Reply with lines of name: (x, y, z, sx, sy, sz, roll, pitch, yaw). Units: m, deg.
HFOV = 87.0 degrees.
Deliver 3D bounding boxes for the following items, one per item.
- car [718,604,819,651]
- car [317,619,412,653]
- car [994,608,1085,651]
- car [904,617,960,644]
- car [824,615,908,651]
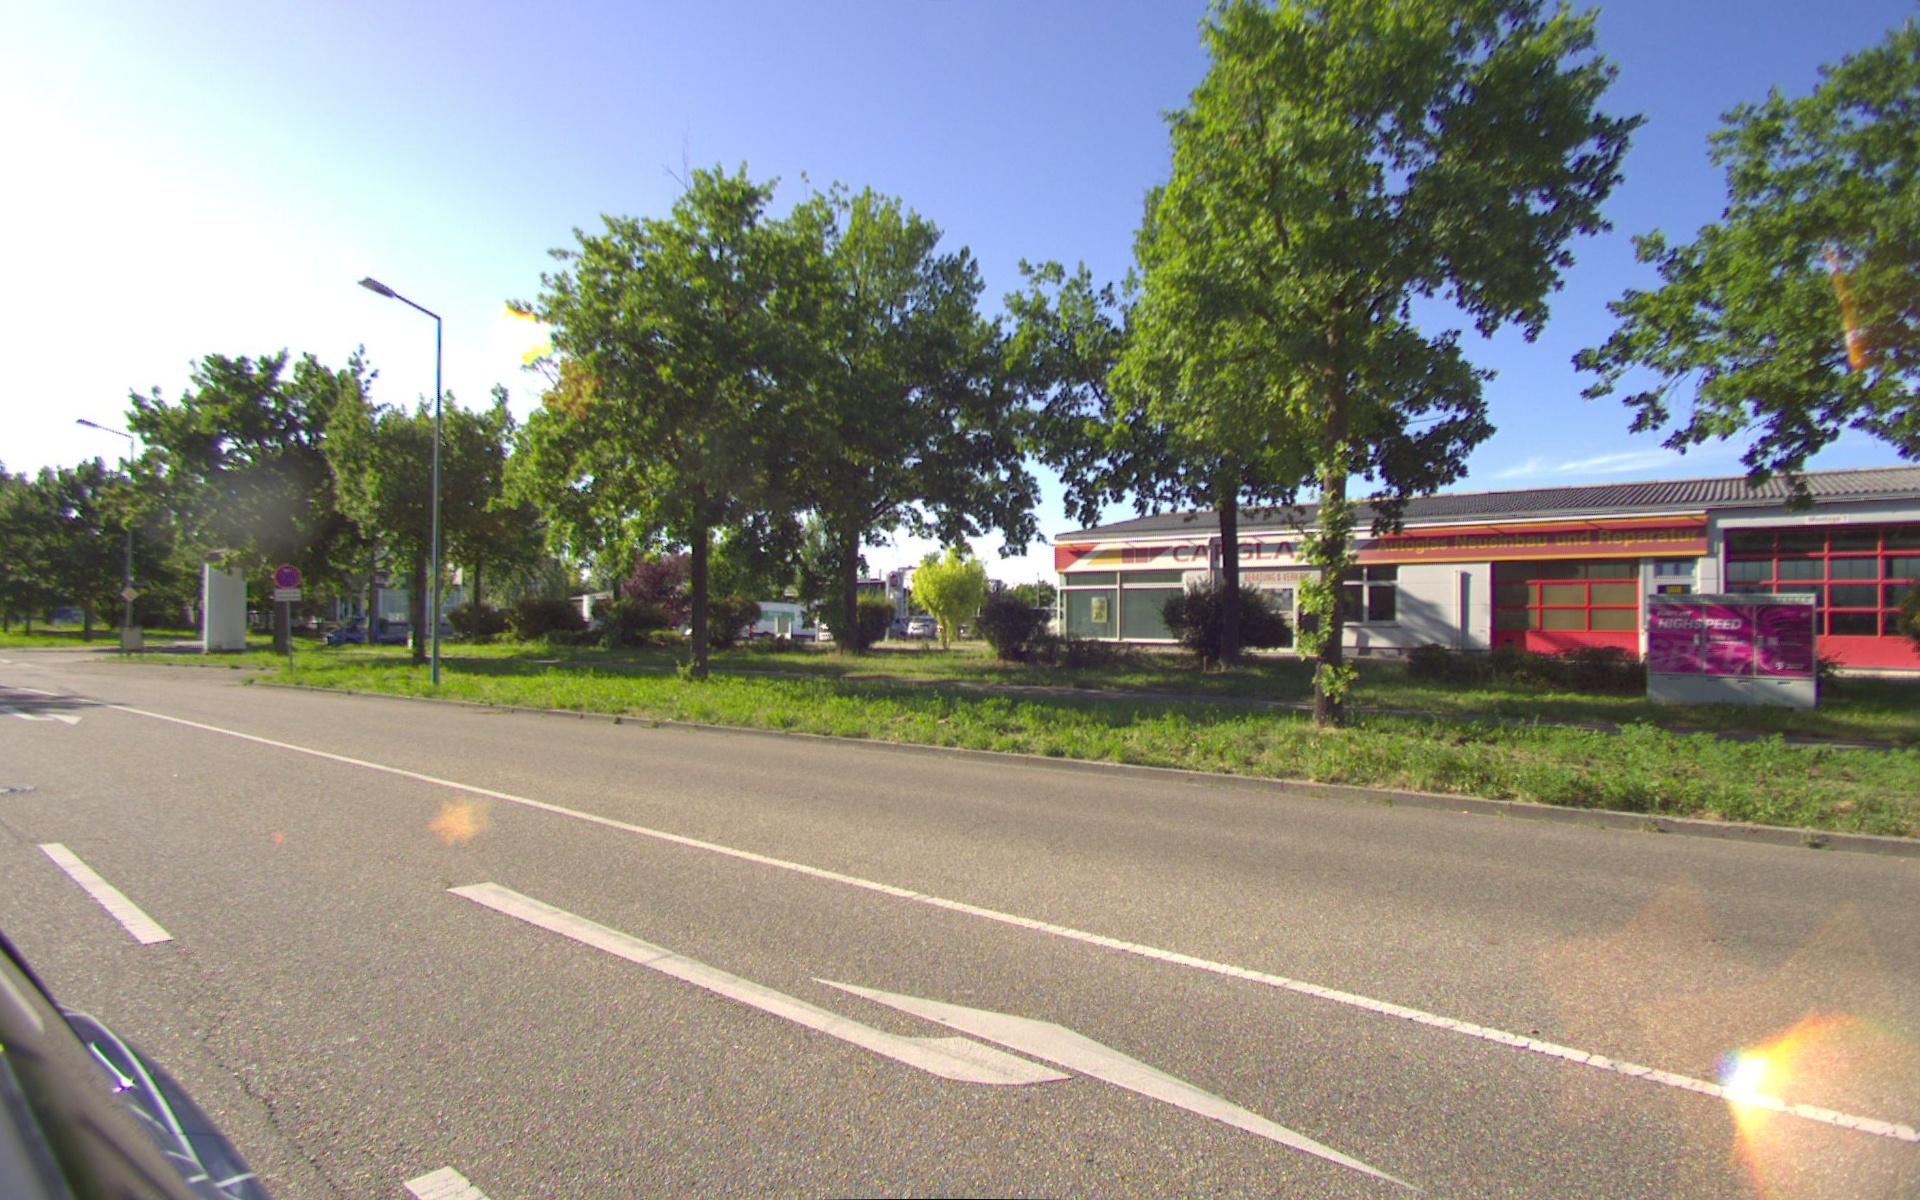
car: (-11.449, 1.594, 61.001, 2.406, 2.574, 5.952, -1, 0, 36)
car: (-35.967, 2.153, 61.236, 1.999, 1.847, 4.578, -1, 0, 41)
car: (3.216, 1.153, 40.605, 1.734, 1.583, 3.769, -3, -1, 40)
car: (-1.868, 2.046, 68.624, 1.761, 1.684, 3.811, -1, 0, 40)
car: (-5.142, 1.764, 55.790, 1.989, 1.795, 4.583, -1, 0, 40)
